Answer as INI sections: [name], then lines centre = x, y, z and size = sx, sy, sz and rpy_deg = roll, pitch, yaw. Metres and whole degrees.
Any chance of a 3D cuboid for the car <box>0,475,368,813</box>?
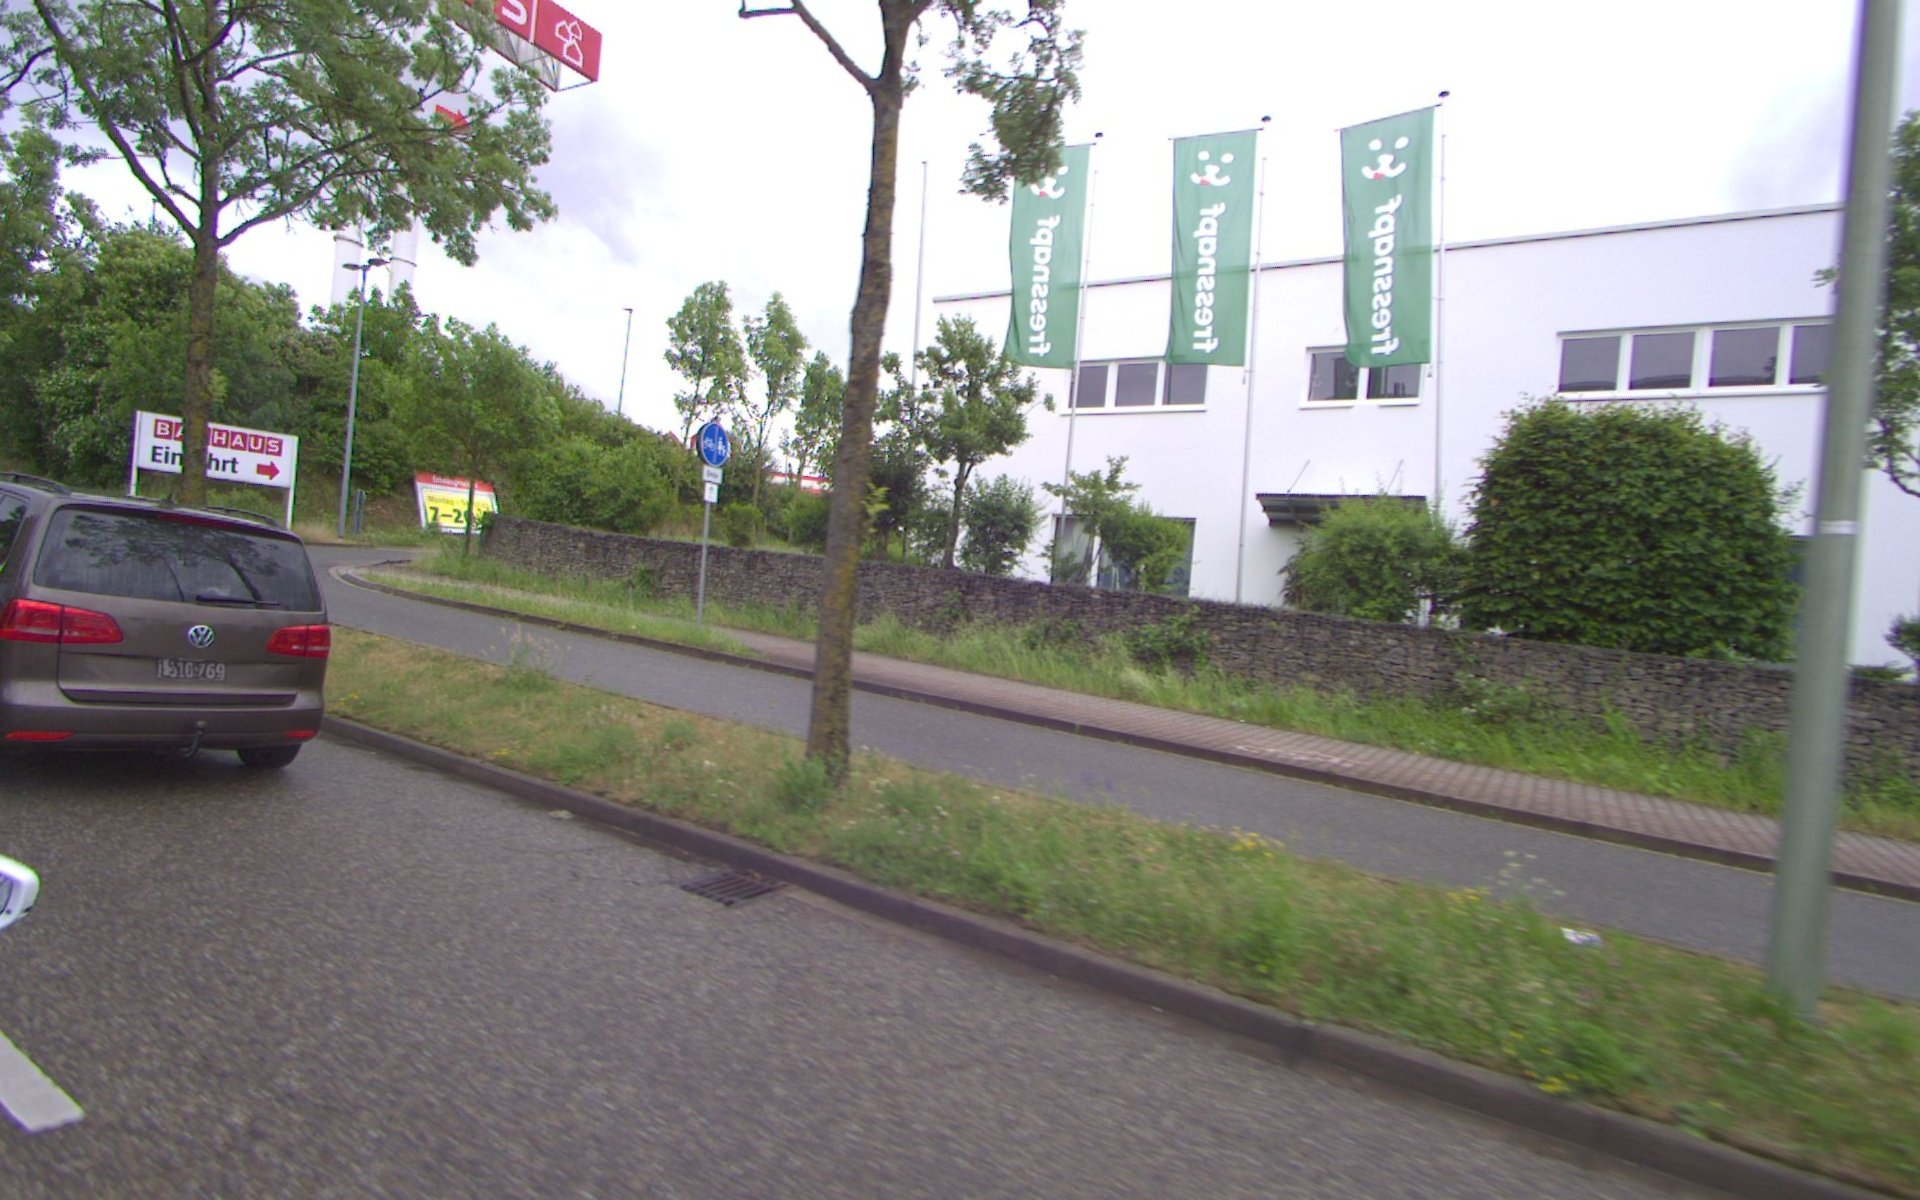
[car]
centre = -5.914, 0.079, 6.482
size = 4.147, 1.600, 1.688
rpy_deg = 7, -1, 30
